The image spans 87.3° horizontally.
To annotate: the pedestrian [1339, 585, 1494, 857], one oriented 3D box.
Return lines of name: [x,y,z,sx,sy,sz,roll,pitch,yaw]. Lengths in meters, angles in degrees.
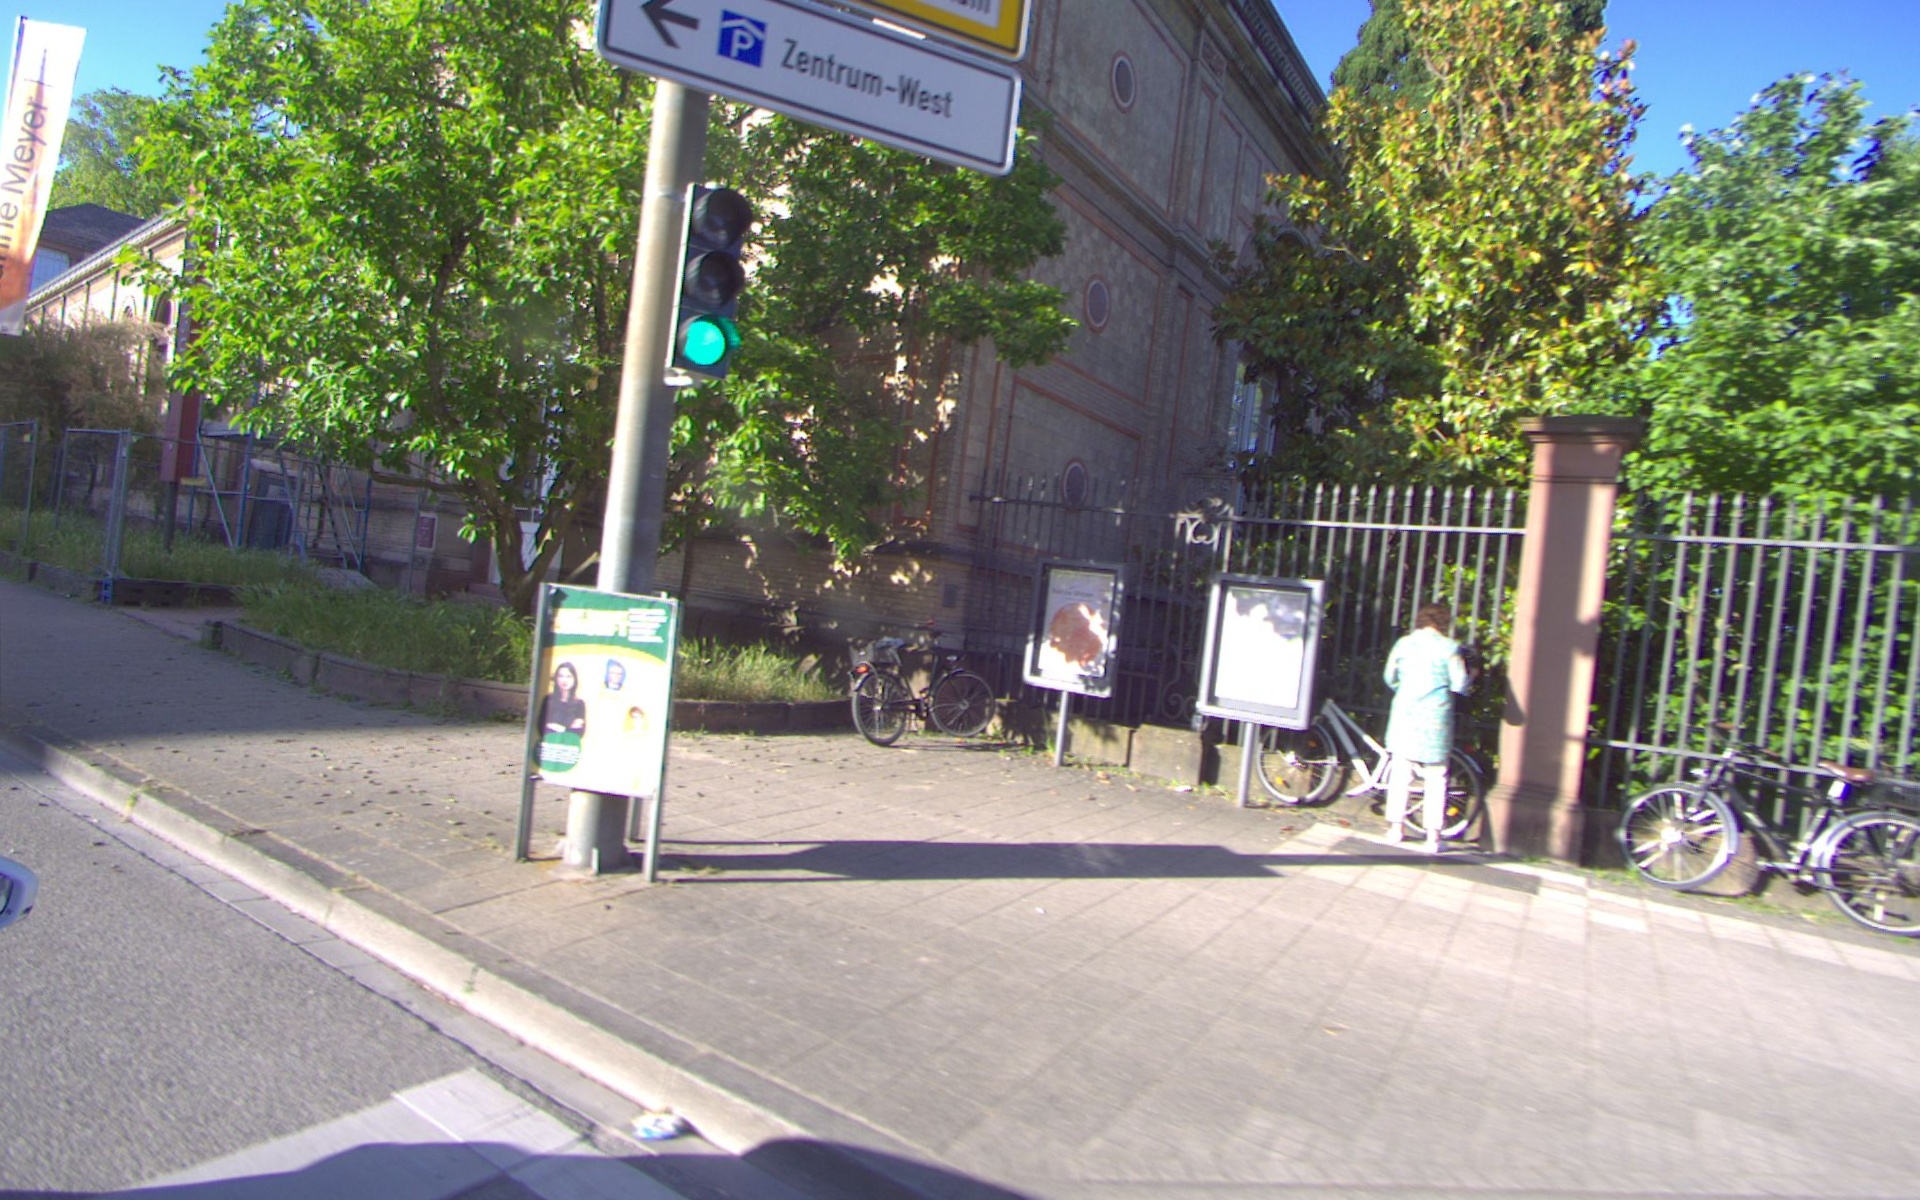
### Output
pedestrian: [3.303,0.842,7.277,0.726,1.790,0.639,7,1,35]

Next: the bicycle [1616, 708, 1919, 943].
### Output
bicycle: [5.230,1.384,6.387,1.654,1.120,0.398,7,3,37]

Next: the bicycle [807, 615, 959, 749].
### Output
bicycle: [-0.649,0.714,8.967,0.471,1.052,1.467,7,1,32]

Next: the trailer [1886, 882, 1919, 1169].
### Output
trailer: [4.686,0.734,1.418,4.419,2.562,2.079,7,2,33]

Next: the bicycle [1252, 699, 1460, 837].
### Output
bicycle: [3.098,1.292,7.953,1.427,0.803,0.264,7,1,33]
